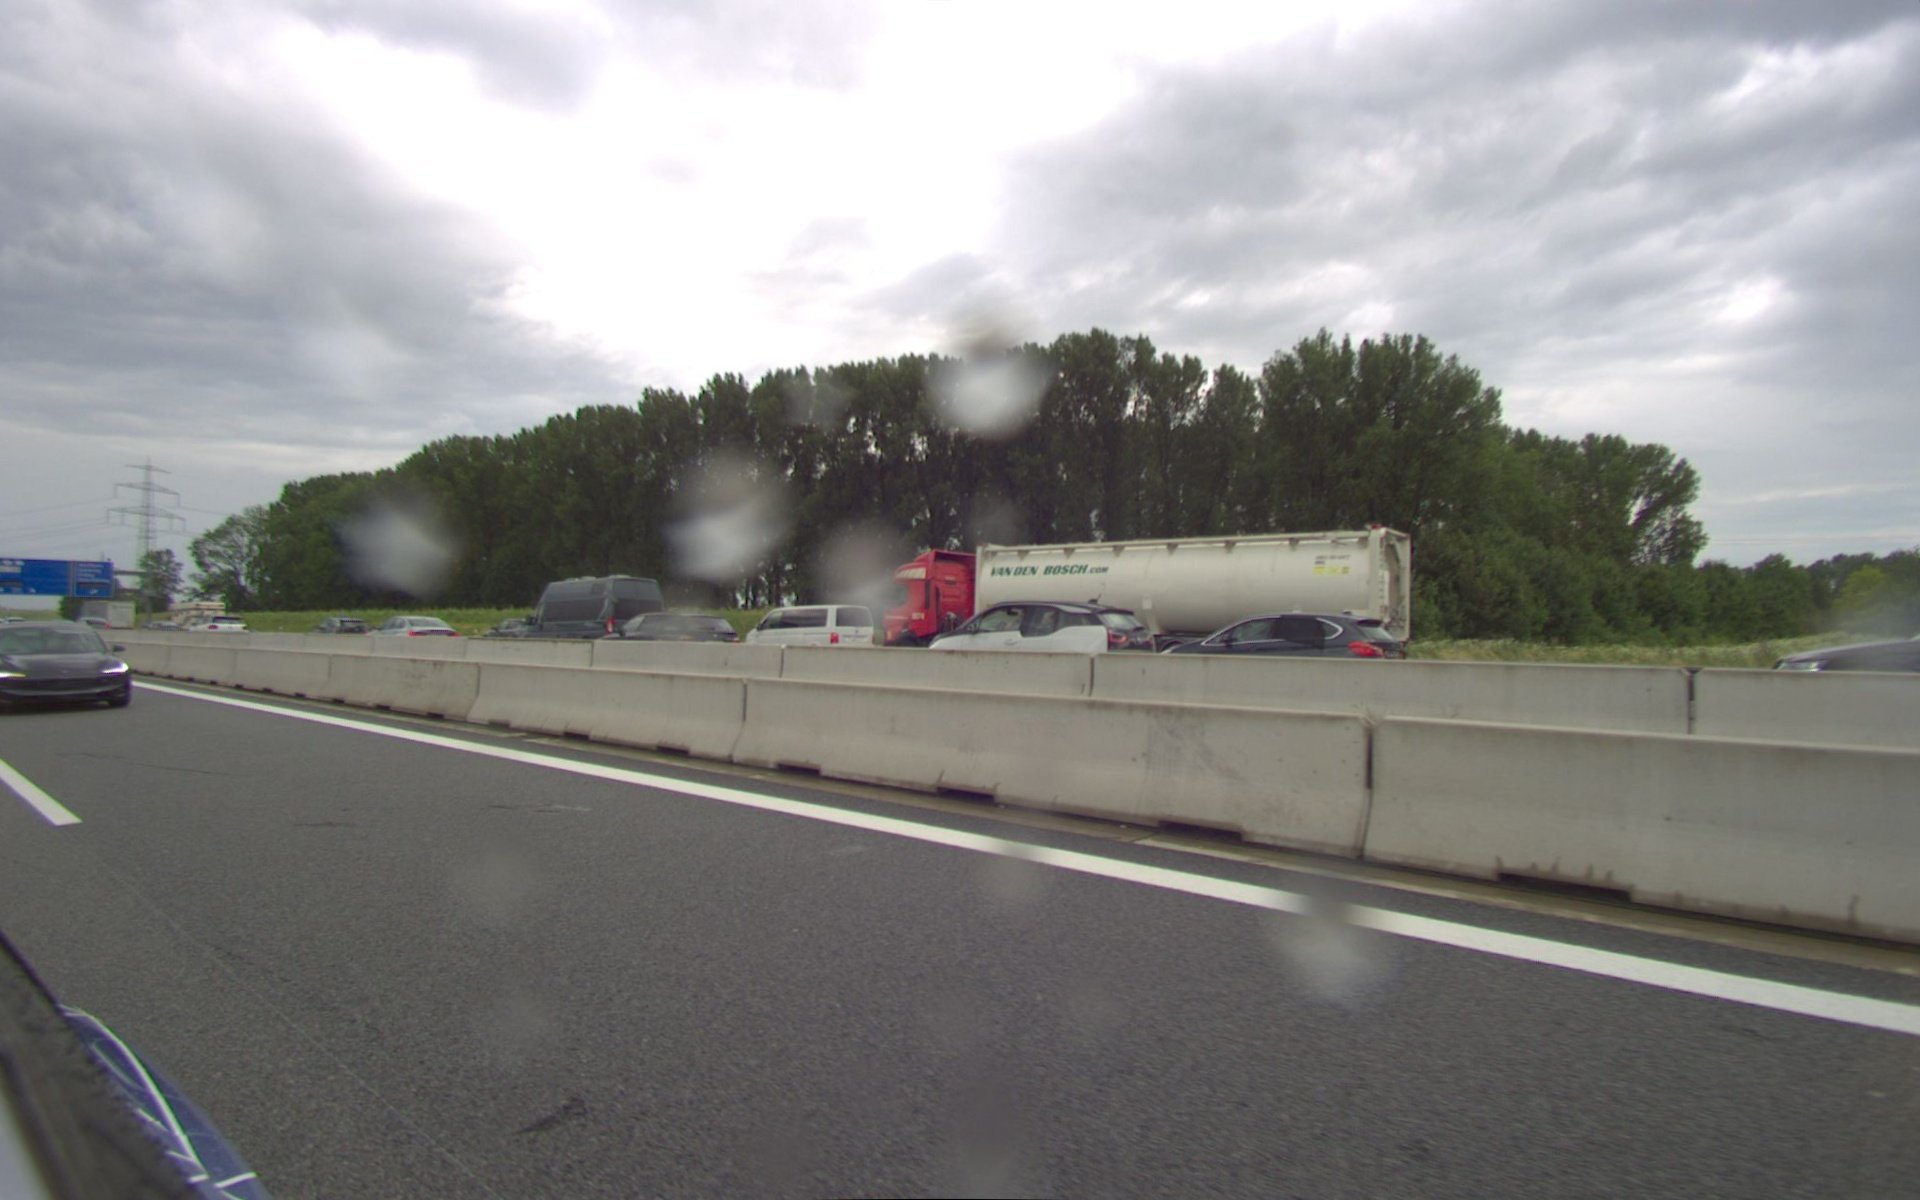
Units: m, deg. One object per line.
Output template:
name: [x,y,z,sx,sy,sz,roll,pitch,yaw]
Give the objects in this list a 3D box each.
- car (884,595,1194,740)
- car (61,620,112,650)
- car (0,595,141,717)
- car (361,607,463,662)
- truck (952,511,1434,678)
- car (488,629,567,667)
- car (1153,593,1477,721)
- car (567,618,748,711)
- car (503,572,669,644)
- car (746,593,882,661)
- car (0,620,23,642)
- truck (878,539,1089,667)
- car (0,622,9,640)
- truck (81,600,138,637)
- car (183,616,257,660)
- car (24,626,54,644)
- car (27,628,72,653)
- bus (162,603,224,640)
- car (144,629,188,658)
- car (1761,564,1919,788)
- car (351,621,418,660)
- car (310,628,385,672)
car: [1.140,0.960,16.169,4.694,1.982,1.972,-1,-1,42]
car: [-62.581,2.483,72.475,5.177,2.029,1.973,-1,-1,40]
car: [-15.852,0.882,17.430,5.162,1.834,1.972,-1,-1,42]
car: [-18.524,1.149,34.129,3.998,1.732,1.785,-1,-1,42]
truck: [5.762,-0.008,28.406,13.292,3.774,3.116,-1,-1,41]
car: [-18.826,2.066,43.990,3.997,1.533,1.599,-1,-1,41]
car: [6.026,0.895,17.564,4.928,1.918,1.973,-1,-1,41]
car: [-7.274,1.439,24.094,4.694,1.982,1.972,-1,-1,42]
car: [-12.560,0.310,33.682,6.814,2.181,2.235,-1,-1,42]
car: [-4.600,0.822,31.608,4.211,1.962,1.972,-1,-1,42]
car: [-89.547,2.925,94.843,4.760,2.029,1.973,-1,-1,41]
truck: [0.667,0.139,32.882,6.316,3.740,3.117,-1,-1,42]
car: [-103.081,3.340,107.863,5.074,1.867,1.973,-2,-2,41]
truck: [-102.931,2.246,122.366,13.941,4.345,3.116,-1,-1,41]
car: [-35.528,1.793,48.533,4.262,2.029,1.973,-1,-1,41]
car: [-105.633,4.013,115.998,4.635,1.948,1.973,-1,-1,40]
car: [-72.940,3.203,81.045,4.630,1.869,1.974,-1,-1,39]
bus: [-72.790,2.028,95.991,9.959,3.358,2.802,-1,-1,42]
car: [-58.768,3.188,74.870,3.996,2.029,1.787,-1,-1,40]
car: [10.056,0.647,8.832,4.694,1.982,1.972,-1,-1,42]
car: [-31.670,2.168,55.664,4.225,2.029,1.973,-1,-1,41]
car: [-29.848,2.387,49.269,4.225,2.029,1.973,-1,-1,41]
